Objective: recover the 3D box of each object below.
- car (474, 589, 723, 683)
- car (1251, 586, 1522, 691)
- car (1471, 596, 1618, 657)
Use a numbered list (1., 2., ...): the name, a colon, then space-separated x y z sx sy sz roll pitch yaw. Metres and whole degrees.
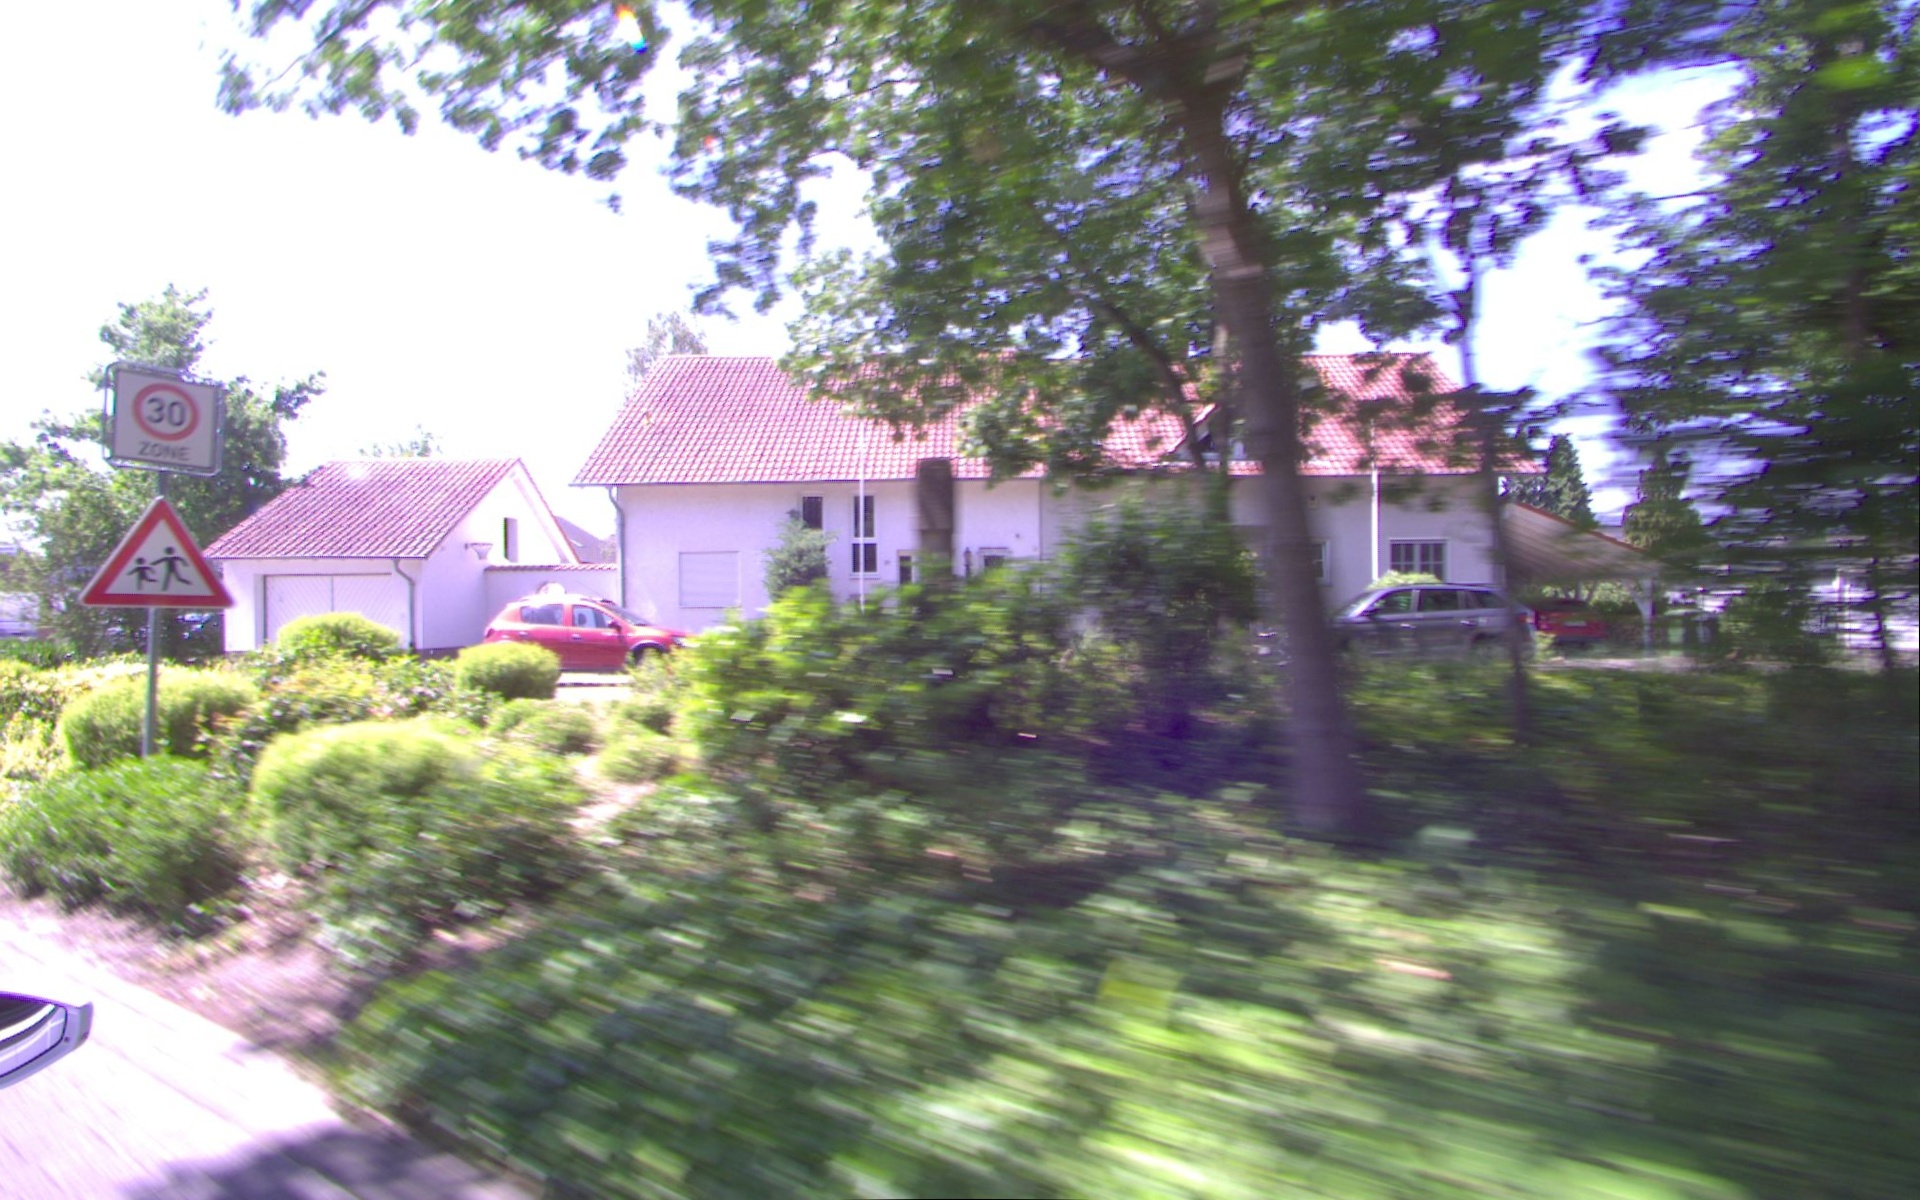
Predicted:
1. car: -6.539 0.649 18.352 3.948 1.622 1.666 0 0 3
2. car: 7.393 0.650 17.613 4.063 1.727 1.666 0 0 -2
3. car: 14.614 0.630 25.287 1.652 1.403 3.694 0 0 2
